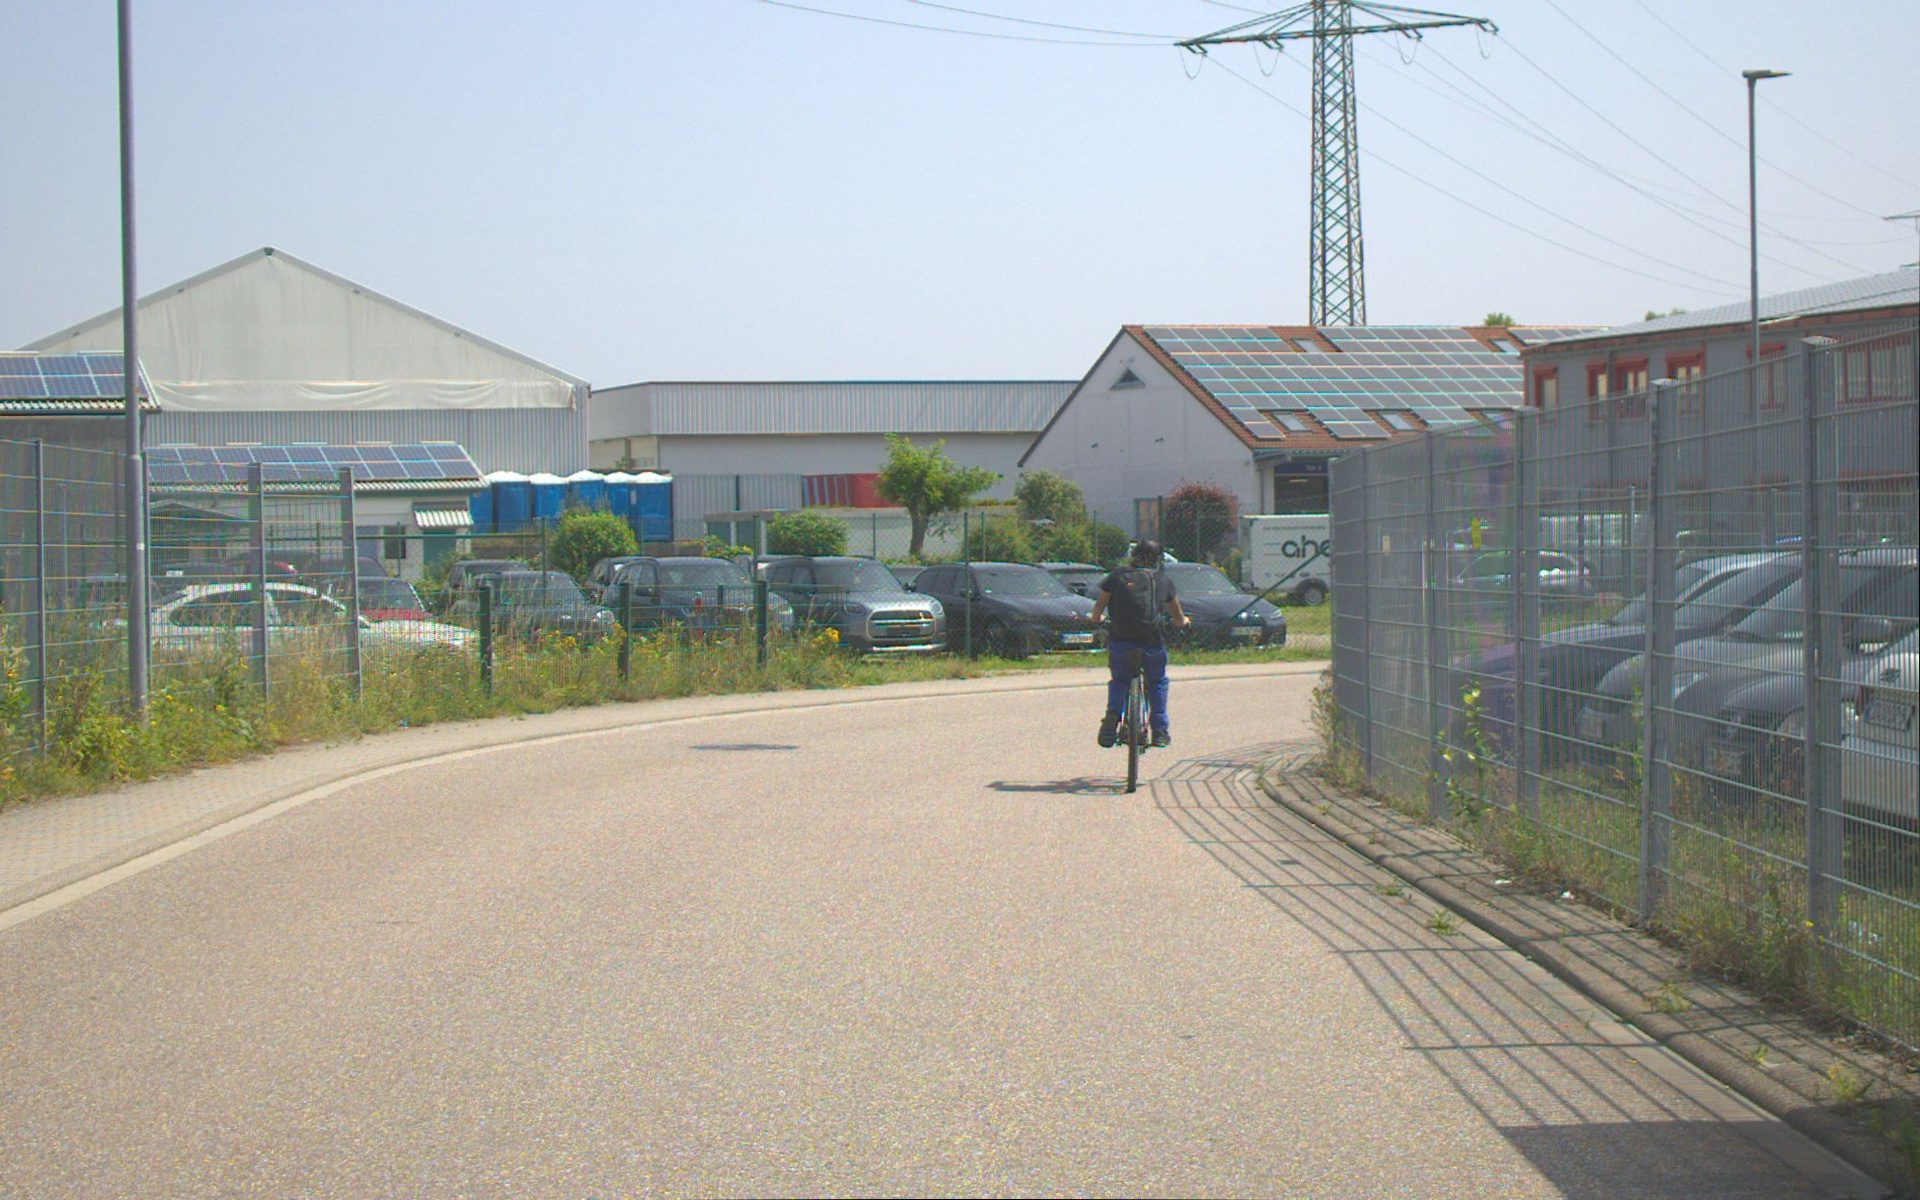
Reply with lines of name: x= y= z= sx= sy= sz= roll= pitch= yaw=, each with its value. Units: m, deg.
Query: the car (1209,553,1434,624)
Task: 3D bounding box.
car: x=6.888 y=-0.230 z=65.445 sx=4.127 sy=1.256 sz=1.235 roll=-1 pitch=1 yaw=-21

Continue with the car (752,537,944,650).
car: x=-1.743 y=-0.122 z=52.320 sx=1.862 sy=1.638 sz=3.635 roll=-1 pitch=1 yaw=-20

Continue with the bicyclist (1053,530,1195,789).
bicyclist: x=1.064 y=0.364 z=22.157 sx=0.842 sy=1.613 sz=1.039 roll=1 pitch=1 yaw=6

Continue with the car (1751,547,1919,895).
car: x=5.399 y=0.587 z=14.712 sx=3.523 sy=1.384 sz=1.637 roll=4 pitch=1 yaw=-3

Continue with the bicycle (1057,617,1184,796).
bicycle: x=1.054 y=0.663 z=22.190 sx=0.685 sy=1.048 sz=1.900 roll=1 pitch=1 yaw=6

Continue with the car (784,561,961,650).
car: x=-1.553 y=0.065 z=59.559 sx=1.993 sy=1.415 sz=4.001 roll=-1 pitch=1 yaw=-18

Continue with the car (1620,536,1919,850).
car: x=5.358 y=0.444 z=17.213 sx=3.648 sy=1.472 sz=1.752 roll=0 pitch=-1 yaw=-8

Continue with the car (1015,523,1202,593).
car: x=3.487 y=-0.986 z=80.940 sx=3.986 sy=1.593 sz=1.877 roll=-1 pitch=1 yaw=-18

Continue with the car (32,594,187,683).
car: x=-13.268 y=0.572 z=53.518 sx=1.862 sy=1.294 sz=3.442 roll=-1 pitch=1 yaw=-22

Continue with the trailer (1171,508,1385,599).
trailer: x=7.007 y=-1.033 z=76.038 sx=4.447 sy=1.938 sz=1.715 roll=-1 pitch=1 yaw=-5

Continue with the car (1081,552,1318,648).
car: x=3.731 y=-0.027 z=54.458 sx=1.995 sy=1.430 sz=4.667 roll=-1 pitch=1 yaw=-20

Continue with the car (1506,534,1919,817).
car: x=5.021 y=0.383 z=19.375 sx=3.538 sy=1.497 sz=1.712 roll=-1 pitch=1 yaw=-3

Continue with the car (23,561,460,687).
car: x=-8.021 y=0.241 z=38.339 sx=4.546 sy=1.302 sz=1.869 roll=-1 pitch=1 yaw=-20

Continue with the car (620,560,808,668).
car: x=-3.744 y=0.181 z=51.777 sx=1.862 sy=1.556 sz=3.698 roll=-1 pitch=1 yaw=-20

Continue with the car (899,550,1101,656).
car: x=0.572 y=0.017 z=52.673 sx=1.862 sy=1.549 sz=3.771 roll=-1 pitch=1 yaw=-20
